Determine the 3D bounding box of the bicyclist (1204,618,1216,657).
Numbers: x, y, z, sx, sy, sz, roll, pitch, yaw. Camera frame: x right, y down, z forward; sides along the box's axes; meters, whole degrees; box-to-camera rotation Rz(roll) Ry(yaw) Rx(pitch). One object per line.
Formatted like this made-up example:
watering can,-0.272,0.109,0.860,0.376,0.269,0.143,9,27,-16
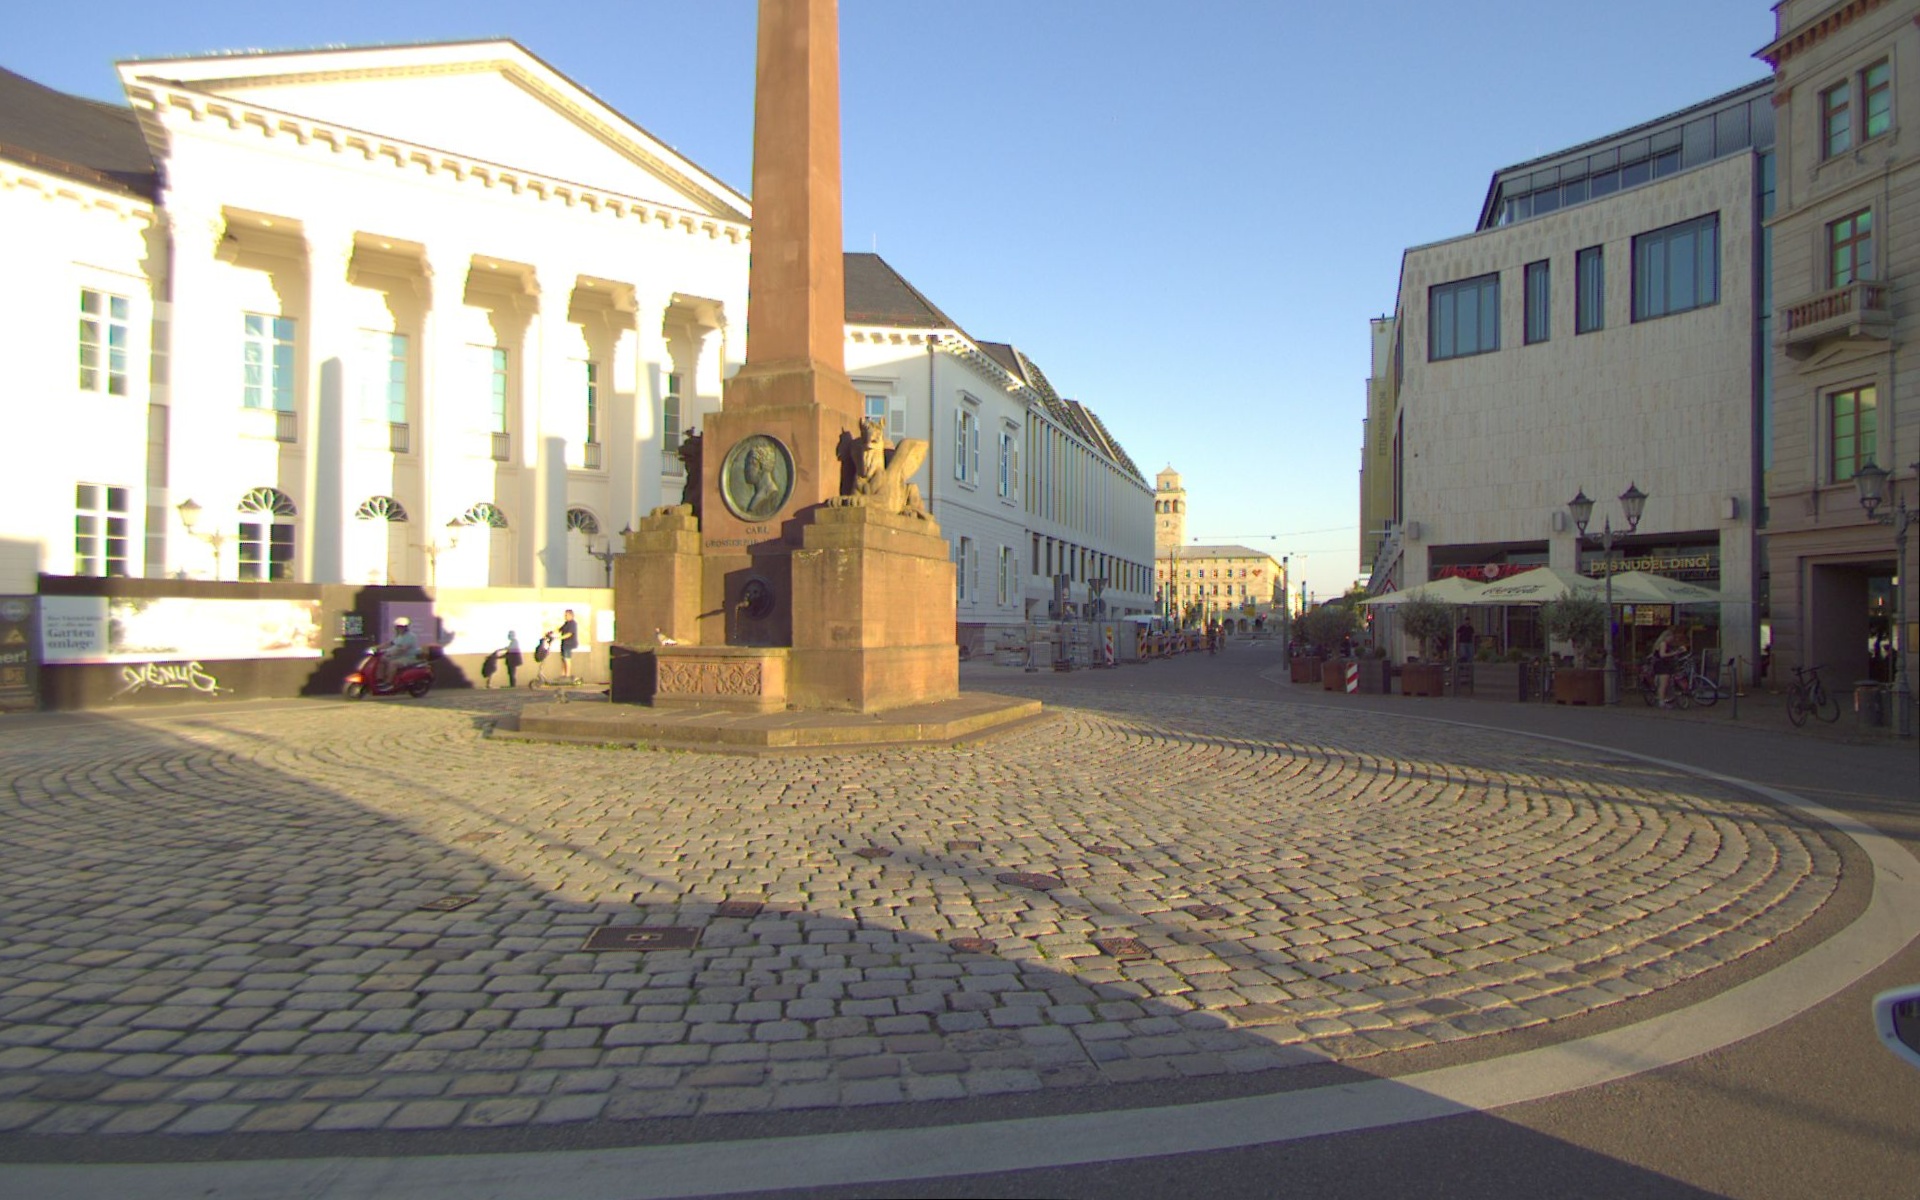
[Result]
bicyclist,14.790,2.230,59.381,0.590,2.272,0.803,0,-1,23

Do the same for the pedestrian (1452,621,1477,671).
pedestrian,18.245,1.657,36.325,0.695,1.811,0.645,0,-1,15

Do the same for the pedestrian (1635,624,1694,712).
pedestrian,14.435,1.368,20.607,0.891,1.751,0.848,0,-1,30

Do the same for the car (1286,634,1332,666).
car,17.712,2.507,50.833,1.961,1.483,3.998,0,-2,23

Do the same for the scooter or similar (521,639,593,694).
scooter or similar,-9.484,1.544,23.667,1.482,1.261,0.543,1,-1,-33

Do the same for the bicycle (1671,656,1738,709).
bicycle,15.777,1.732,21.278,1.628,1.045,0.616,1,-1,-33

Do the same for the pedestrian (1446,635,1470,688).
pedestrian,13.658,1.668,27.535,0.500,1.416,0.494,0,-1,37

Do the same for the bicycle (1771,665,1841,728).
bicycle,15.007,1.691,17.812,1.628,1.045,0.503,1,-1,-33

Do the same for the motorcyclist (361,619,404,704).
motorcyclist,-11.542,1.212,20.094,0.683,1.674,0.598,1,-1,-26

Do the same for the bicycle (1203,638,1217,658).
bicycle,14.797,2.808,59.388,0.590,1.153,1.754,0,-1,22

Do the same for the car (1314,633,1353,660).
car,21.758,2.656,58.453,1.961,1.483,3.998,0,-2,23

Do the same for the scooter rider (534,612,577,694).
scooter rider,-9.518,1.237,23.639,0.850,1.874,0.544,1,-1,-32

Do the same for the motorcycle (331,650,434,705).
motorcycle,-11.521,1.538,20.103,1.732,1.045,0.598,1,-1,-26

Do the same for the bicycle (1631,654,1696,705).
bicycle,15.343,1.709,21.906,1.628,1.045,0.596,1,-1,-33

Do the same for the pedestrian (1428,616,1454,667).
pedestrian,17.470,1.489,36.495,0.625,1.840,0.699,0,-1,5
